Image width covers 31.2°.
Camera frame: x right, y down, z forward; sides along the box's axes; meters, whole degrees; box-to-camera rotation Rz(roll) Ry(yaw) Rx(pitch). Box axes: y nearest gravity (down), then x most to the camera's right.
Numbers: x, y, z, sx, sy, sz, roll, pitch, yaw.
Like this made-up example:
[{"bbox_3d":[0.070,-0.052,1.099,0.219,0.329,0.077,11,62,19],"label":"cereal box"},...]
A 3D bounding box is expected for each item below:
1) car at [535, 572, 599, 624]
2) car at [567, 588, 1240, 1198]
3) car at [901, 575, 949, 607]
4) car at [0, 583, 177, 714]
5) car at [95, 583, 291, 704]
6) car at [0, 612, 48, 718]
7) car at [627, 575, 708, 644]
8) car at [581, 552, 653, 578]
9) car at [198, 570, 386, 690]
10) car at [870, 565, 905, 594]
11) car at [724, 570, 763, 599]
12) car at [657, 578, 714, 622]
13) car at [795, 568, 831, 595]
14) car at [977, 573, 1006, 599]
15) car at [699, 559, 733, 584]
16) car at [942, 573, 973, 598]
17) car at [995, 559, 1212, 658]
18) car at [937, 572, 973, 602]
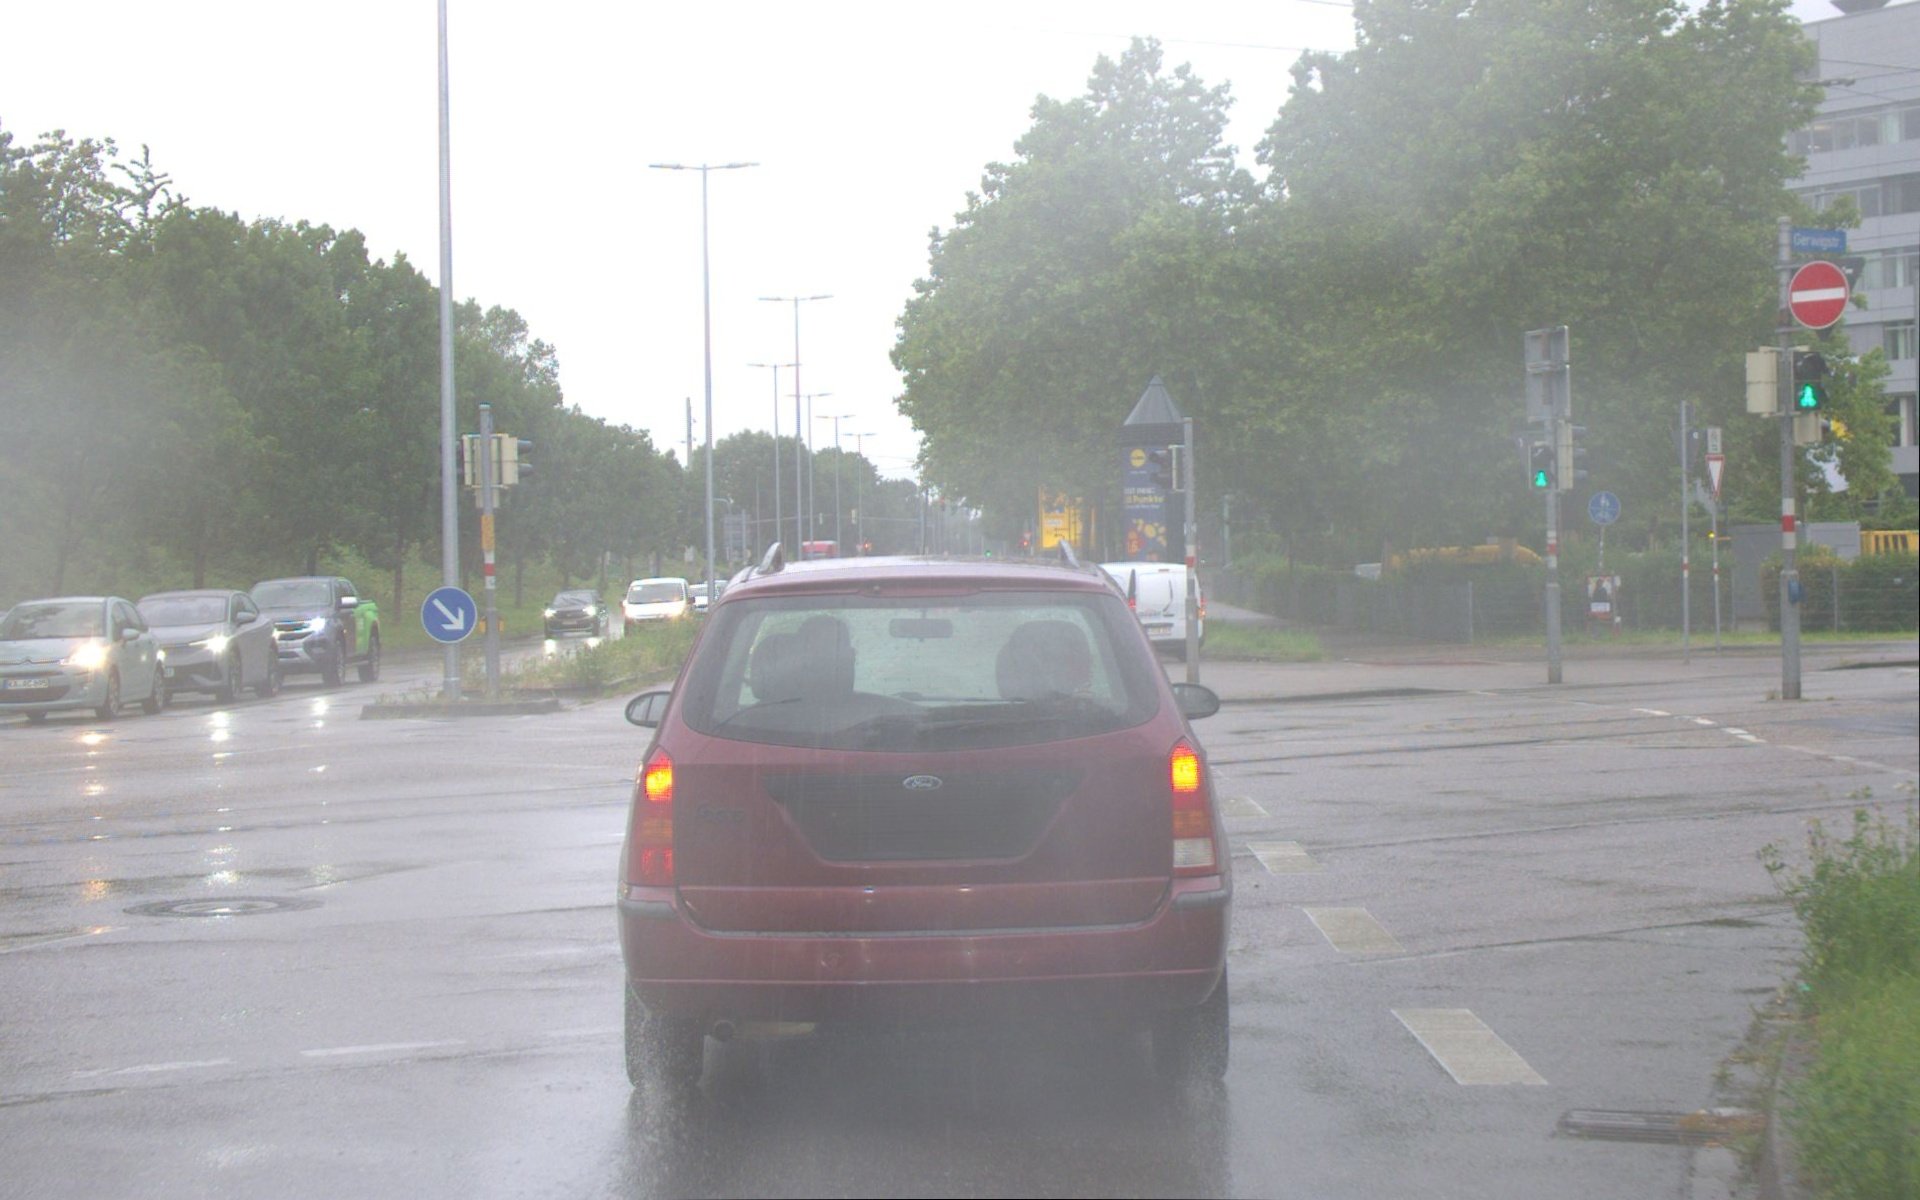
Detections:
[{"bbox_3d":[-13.508,-0.083,118.321,1.743,1.696,4.284,1,1,-1],"label":"car"},{"bbox_3d":[-0.163,0.720,10.377,1.642,1.460,3.733,1,1,-1],"label":"car"},{"bbox_3d":[-1.747,-0.473,173.400,2.147,1.522,4.192,-1,0,2],"label":"car"},{"bbox_3d":[-10.762,0.558,41.807,1.638,1.468,3.965,-2,1,-2],"label":"car"},{"bbox_3d":[-10.819,0.589,48.783,1.762,1.580,4.813,-2,0,-1],"label":"car"},{"bbox_3d":[-13.825,0.914,47.193,1.590,1.399,3.823,-2,1,-1],"label":"car"},{"bbox_3d":[-7.710,0.235,90.887,1.743,1.696,4.284,-3,1,-1],"label":"car"},{"bbox_3d":[-22.870,-2.365,229.339,4.270,1.591,1.969,-2,1,-35],"label":"car"},{"bbox_3d":[-10.978,0.448,56.908,2.065,1.813,5.542,-2,1,-1],"label":"car"},{"bbox_3d":[-3.946,-1.122,188.111,1.698,1.522,3.845,-1,0,2],"label":"car"},{"bbox_3d":[-12.191,-0.890,193.723,1.963,1.591,4.284,-2,1,-1],"label":"car"},{"bbox_3d":[-10.991,-0.012,137.731,1.963,1.696,4.284,-2,1,-1],"label":"car"},{"bbox_3d":[-8.986,-1.138,209.999,1.963,1.591,4.284,-2,1,0],"label":"car"},{"bbox_3d":[1.962,-0.875,211.821,1.671,1.522,3.845,-1,0,2],"label":"car"},{"bbox_3d":[-16.436,-1.937,231.540,1.963,1.591,4.284,-2,1,-1],"label":"car"},{"bbox_3d":[-0.147,-0.894,215.975,1.671,1.522,3.845,-1,0,4],"label":"car"},{"bbox_3d":[2.563,0.122,62.391,1.736,1.720,4.243,0,1,-34],"label":"car"},{"bbox_3d":[-0.247,-0.670,179.581,1.698,1.522,3.845,-1,0,2],"label":"car"}]
